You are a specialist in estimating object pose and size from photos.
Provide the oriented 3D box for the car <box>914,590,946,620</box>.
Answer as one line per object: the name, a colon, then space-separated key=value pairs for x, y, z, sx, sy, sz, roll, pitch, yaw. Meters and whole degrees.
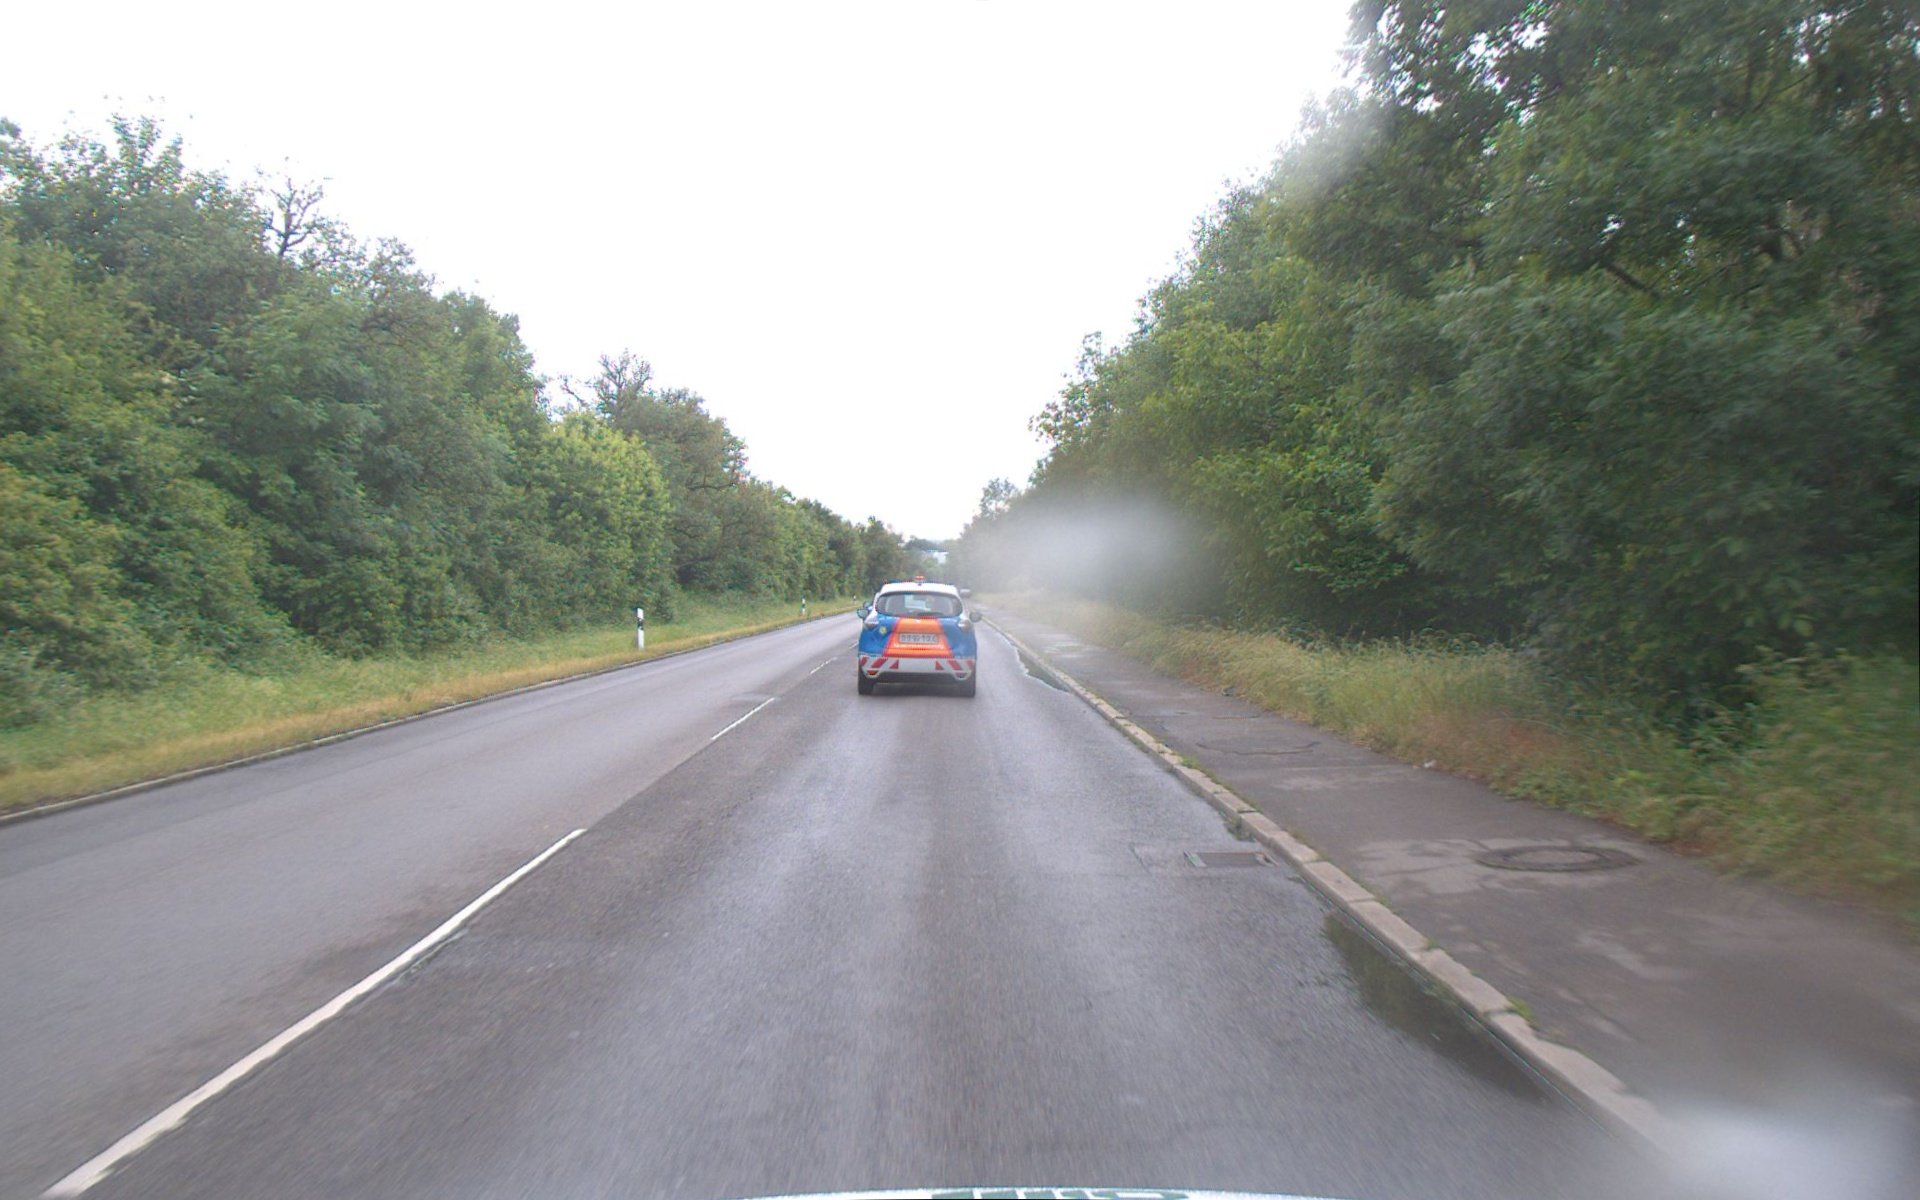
car: x=-1.896 y=0.311 z=104.068 sx=1.902 sy=1.753 sz=4.063 roll=-2 pitch=1 yaw=0

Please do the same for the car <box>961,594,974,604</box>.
car: x=1.084 y=-0.148 z=240.542 sx=1.953 sy=1.400 sz=4.000 roll=-1 pitch=0 yaw=0

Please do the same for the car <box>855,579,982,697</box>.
car: x=-0.591 y=0.495 z=24.499 sx=1.716 sy=1.583 sz=3.792 roll=0 pitch=1 yaw=-1

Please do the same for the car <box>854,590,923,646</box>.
car: x=-1.770 y=0.432 z=41.672 sx=1.566 sy=1.309 sz=3.476 roll=-1 pitch=0 yaw=0
